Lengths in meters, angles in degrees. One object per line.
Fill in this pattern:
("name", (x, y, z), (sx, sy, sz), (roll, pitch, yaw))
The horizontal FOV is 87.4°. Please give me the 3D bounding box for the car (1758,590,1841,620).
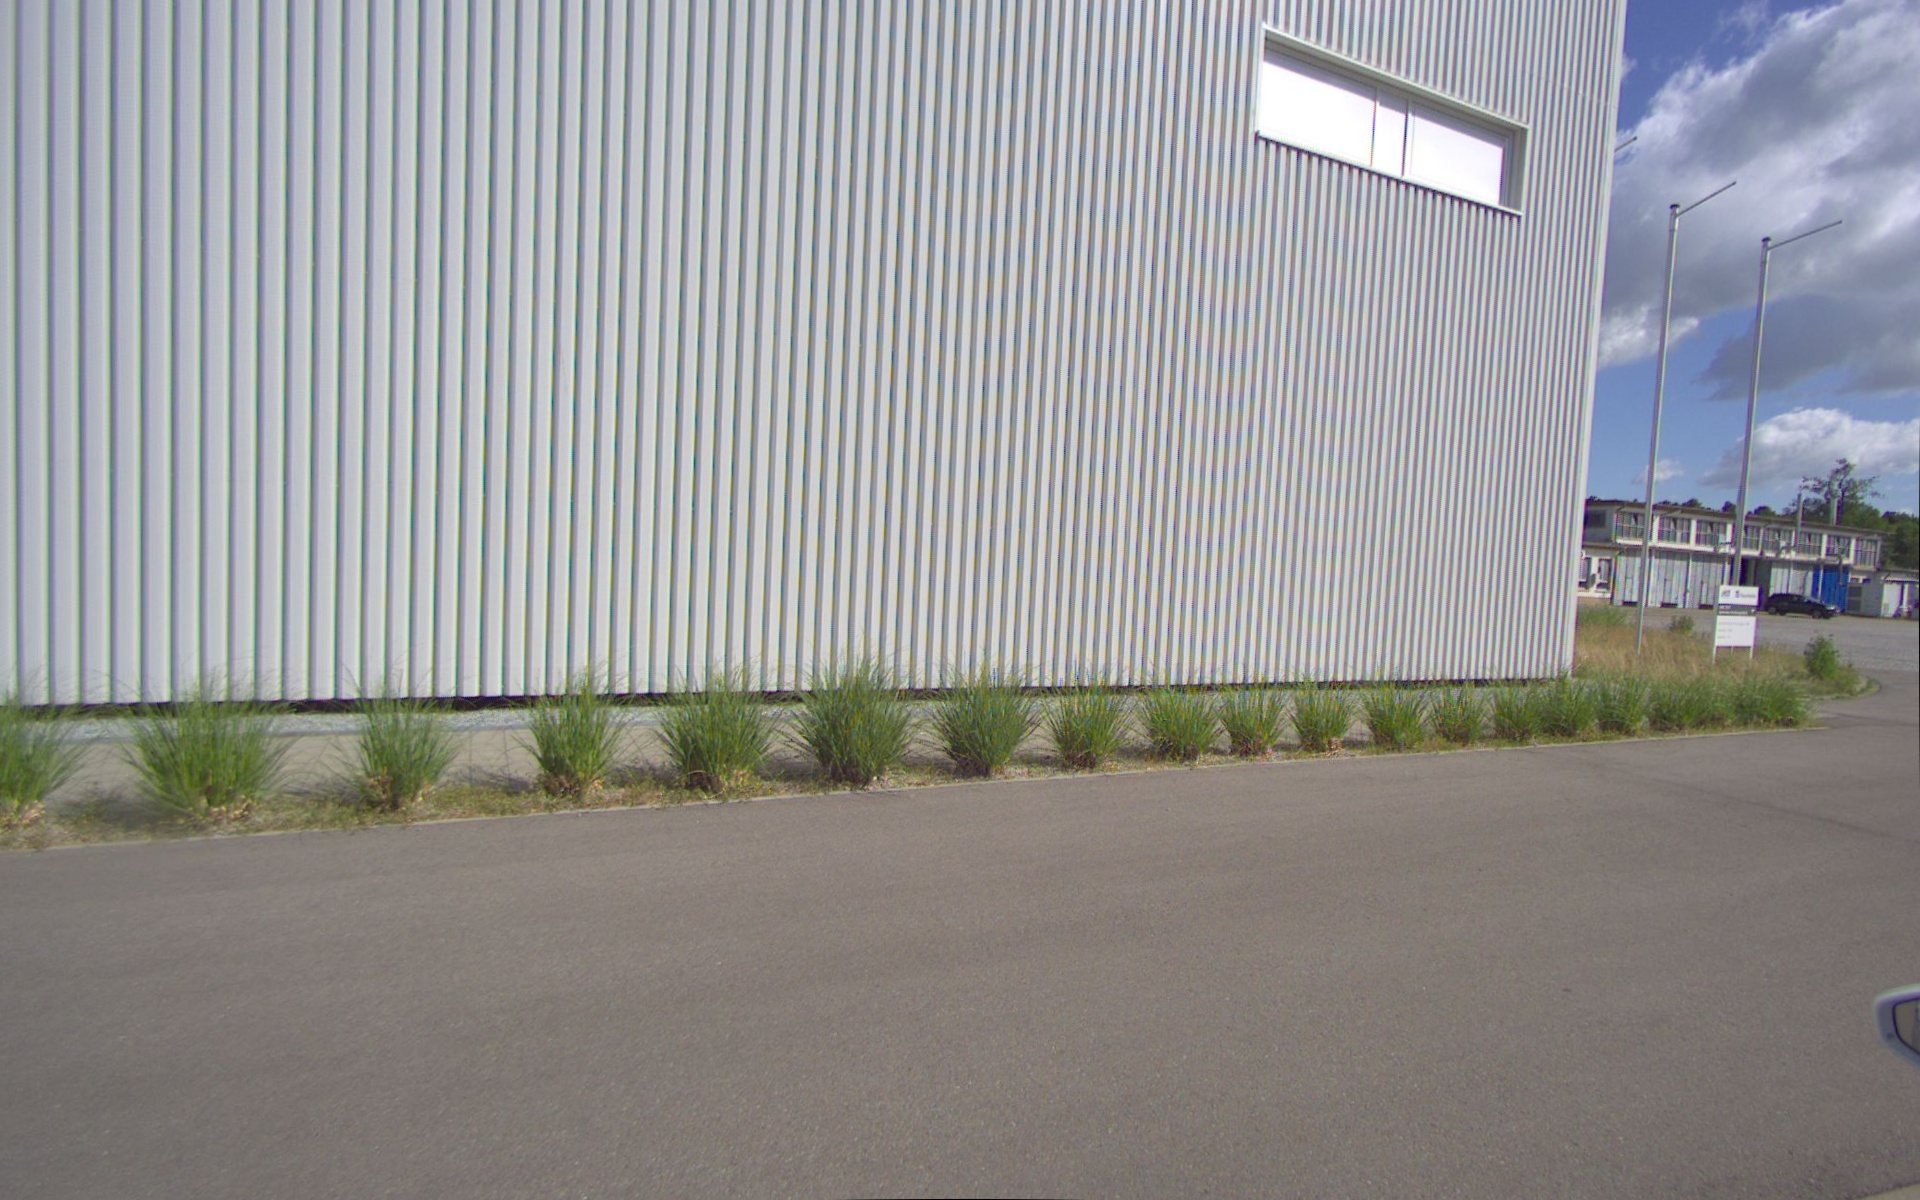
("car", (60.438, 0.324, 72.360), (1.762, 1.688, 4.144), (2, 4, -28))
